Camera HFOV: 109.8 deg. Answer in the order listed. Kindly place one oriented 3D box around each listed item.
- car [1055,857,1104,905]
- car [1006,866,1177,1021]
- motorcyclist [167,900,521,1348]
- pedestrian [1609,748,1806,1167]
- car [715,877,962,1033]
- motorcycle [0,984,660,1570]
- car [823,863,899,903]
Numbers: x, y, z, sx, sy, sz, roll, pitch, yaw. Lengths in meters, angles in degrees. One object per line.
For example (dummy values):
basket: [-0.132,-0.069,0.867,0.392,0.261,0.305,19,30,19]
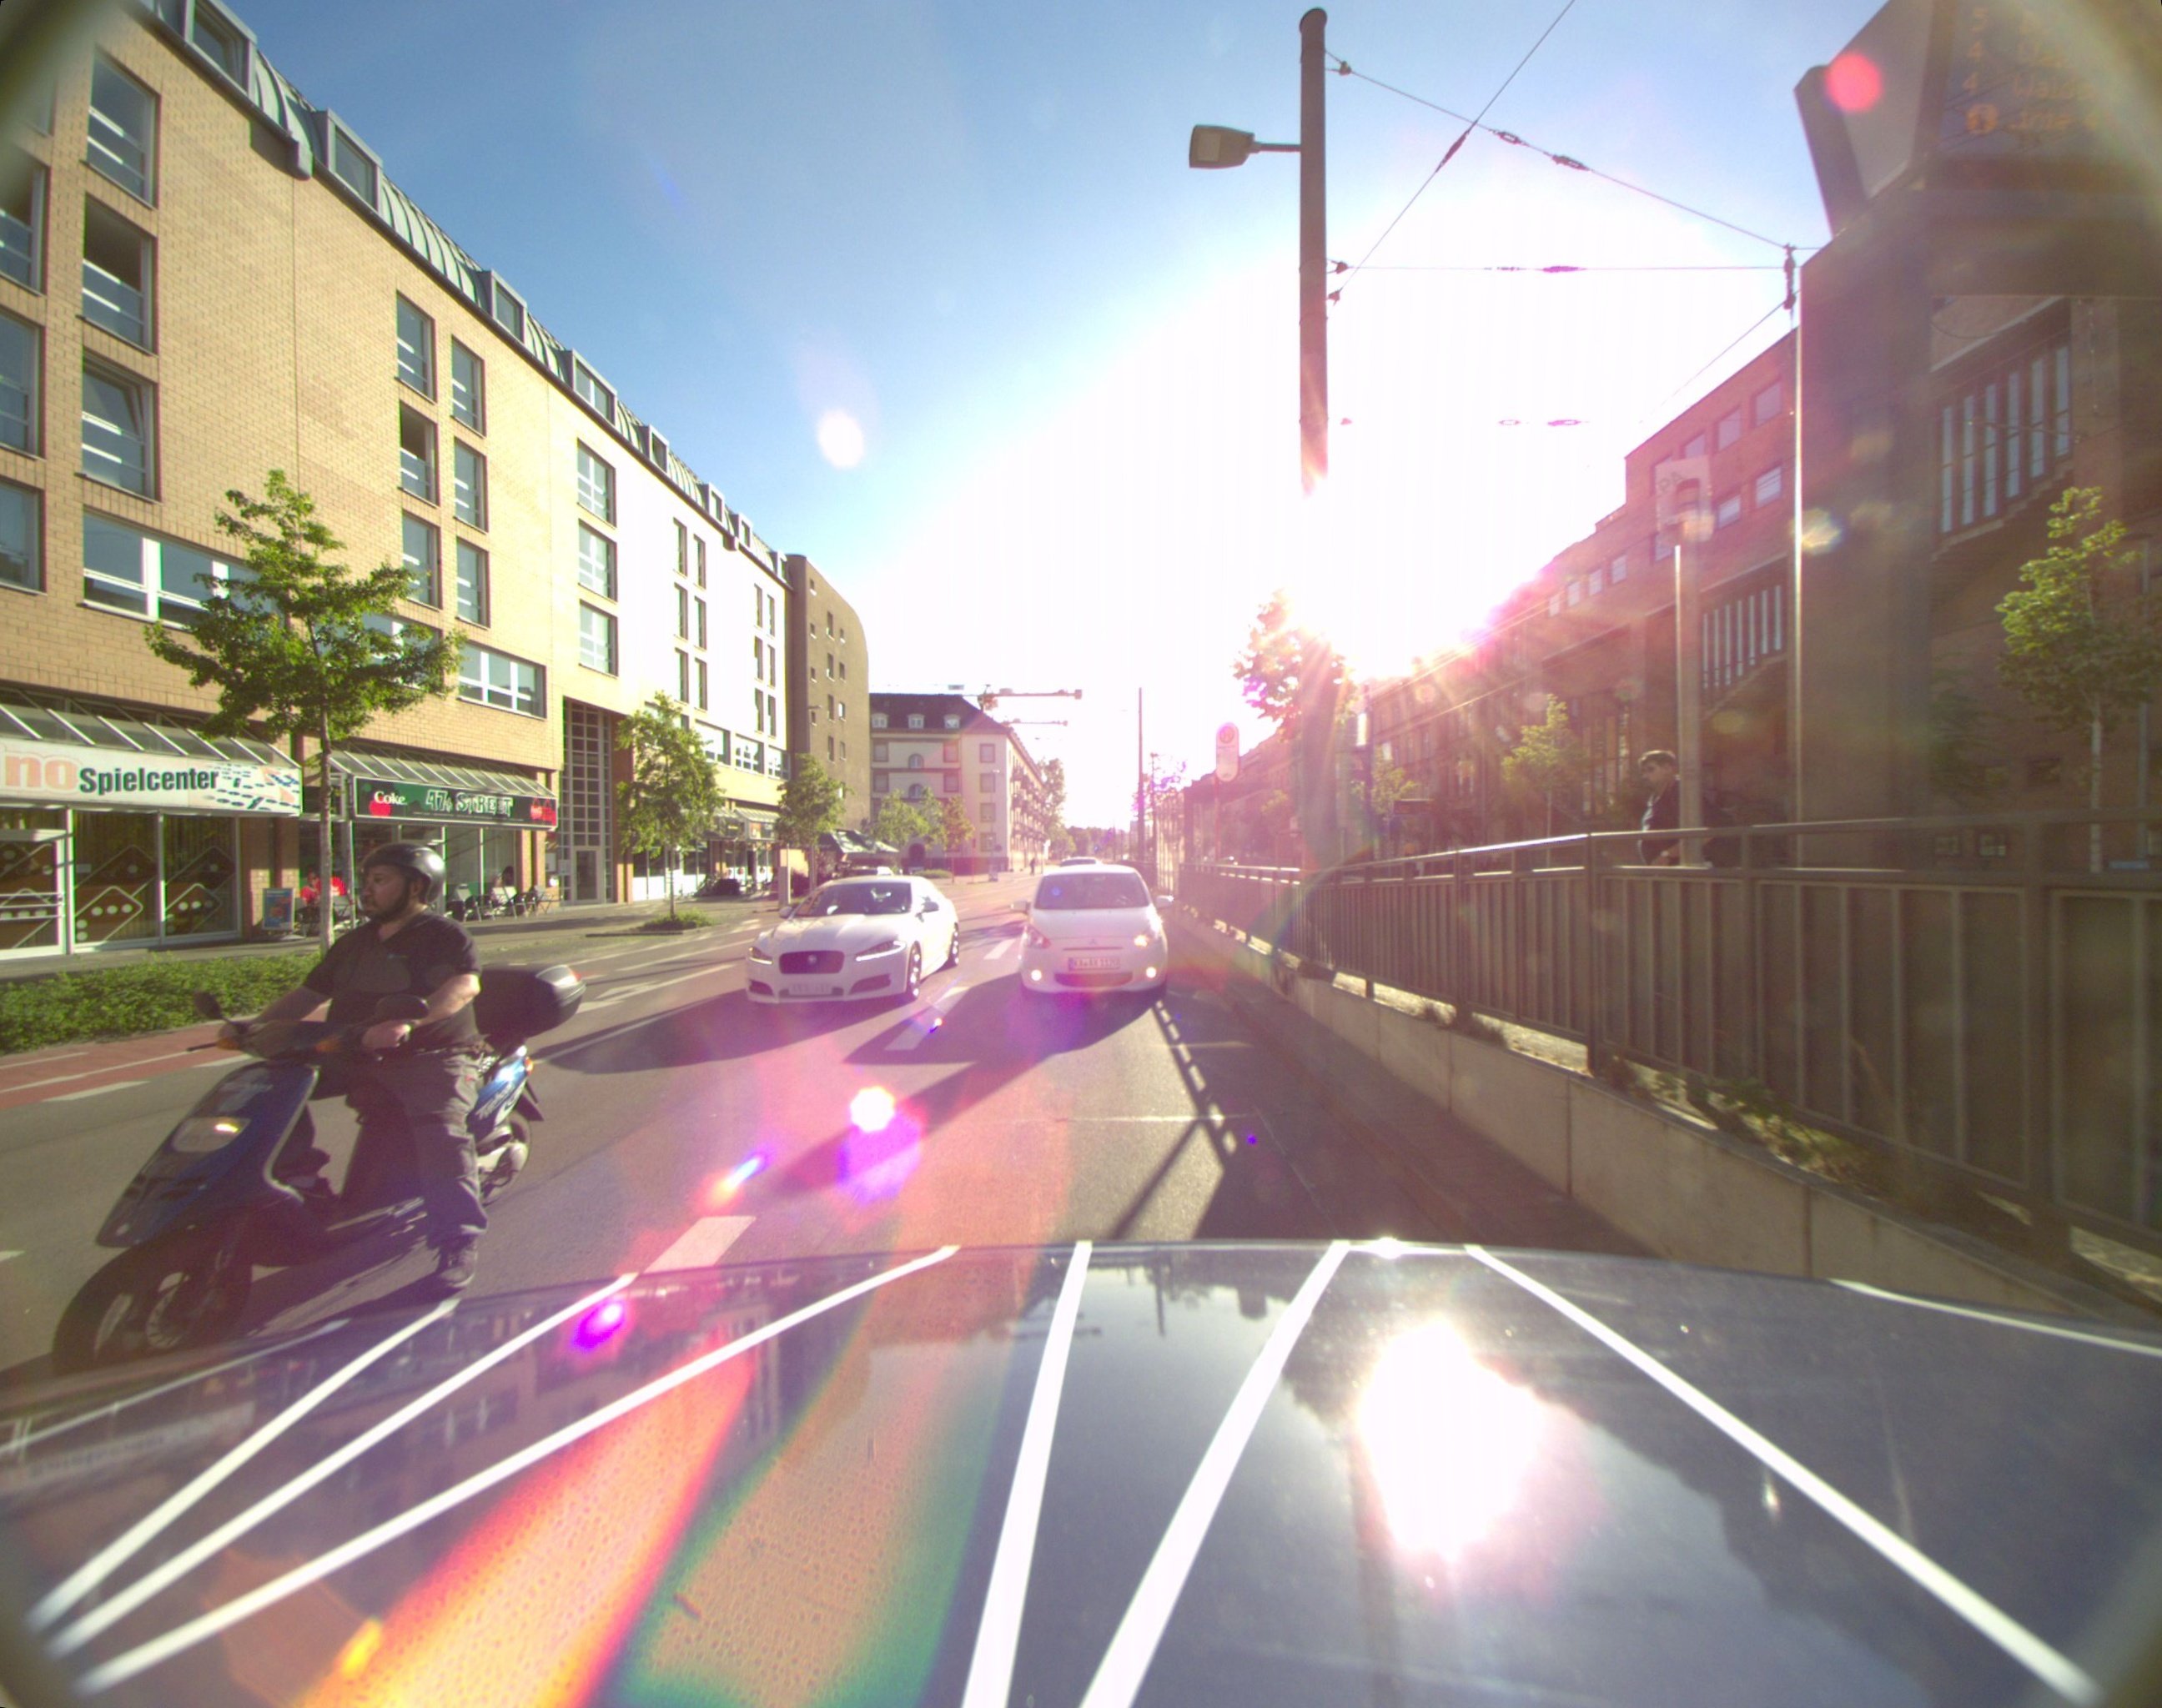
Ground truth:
car: [-0.060,0.965,29.335,1.720,1.591,4.215,-2,1,0]
car: [0.107,0.963,9.972,1.720,1.422,4.215,-2,1,0]
motorcyclist: [-2.862,0.999,3.019,0.798,1.571,0.529,-2,1,0]
pedestrian: [3.903,0.607,4.779,0.626,2.428,0.685,-2,1,-1]
car: [-2.811,1.096,9.958,1.808,1.421,4.453,-1,0,0]
motorcycle: [-2.822,1.280,3.100,0.806,1.044,2.375,-2,1,1]
car: [-10.008,1.258,34.838,1.778,1.630,4.003,1,0,9]
